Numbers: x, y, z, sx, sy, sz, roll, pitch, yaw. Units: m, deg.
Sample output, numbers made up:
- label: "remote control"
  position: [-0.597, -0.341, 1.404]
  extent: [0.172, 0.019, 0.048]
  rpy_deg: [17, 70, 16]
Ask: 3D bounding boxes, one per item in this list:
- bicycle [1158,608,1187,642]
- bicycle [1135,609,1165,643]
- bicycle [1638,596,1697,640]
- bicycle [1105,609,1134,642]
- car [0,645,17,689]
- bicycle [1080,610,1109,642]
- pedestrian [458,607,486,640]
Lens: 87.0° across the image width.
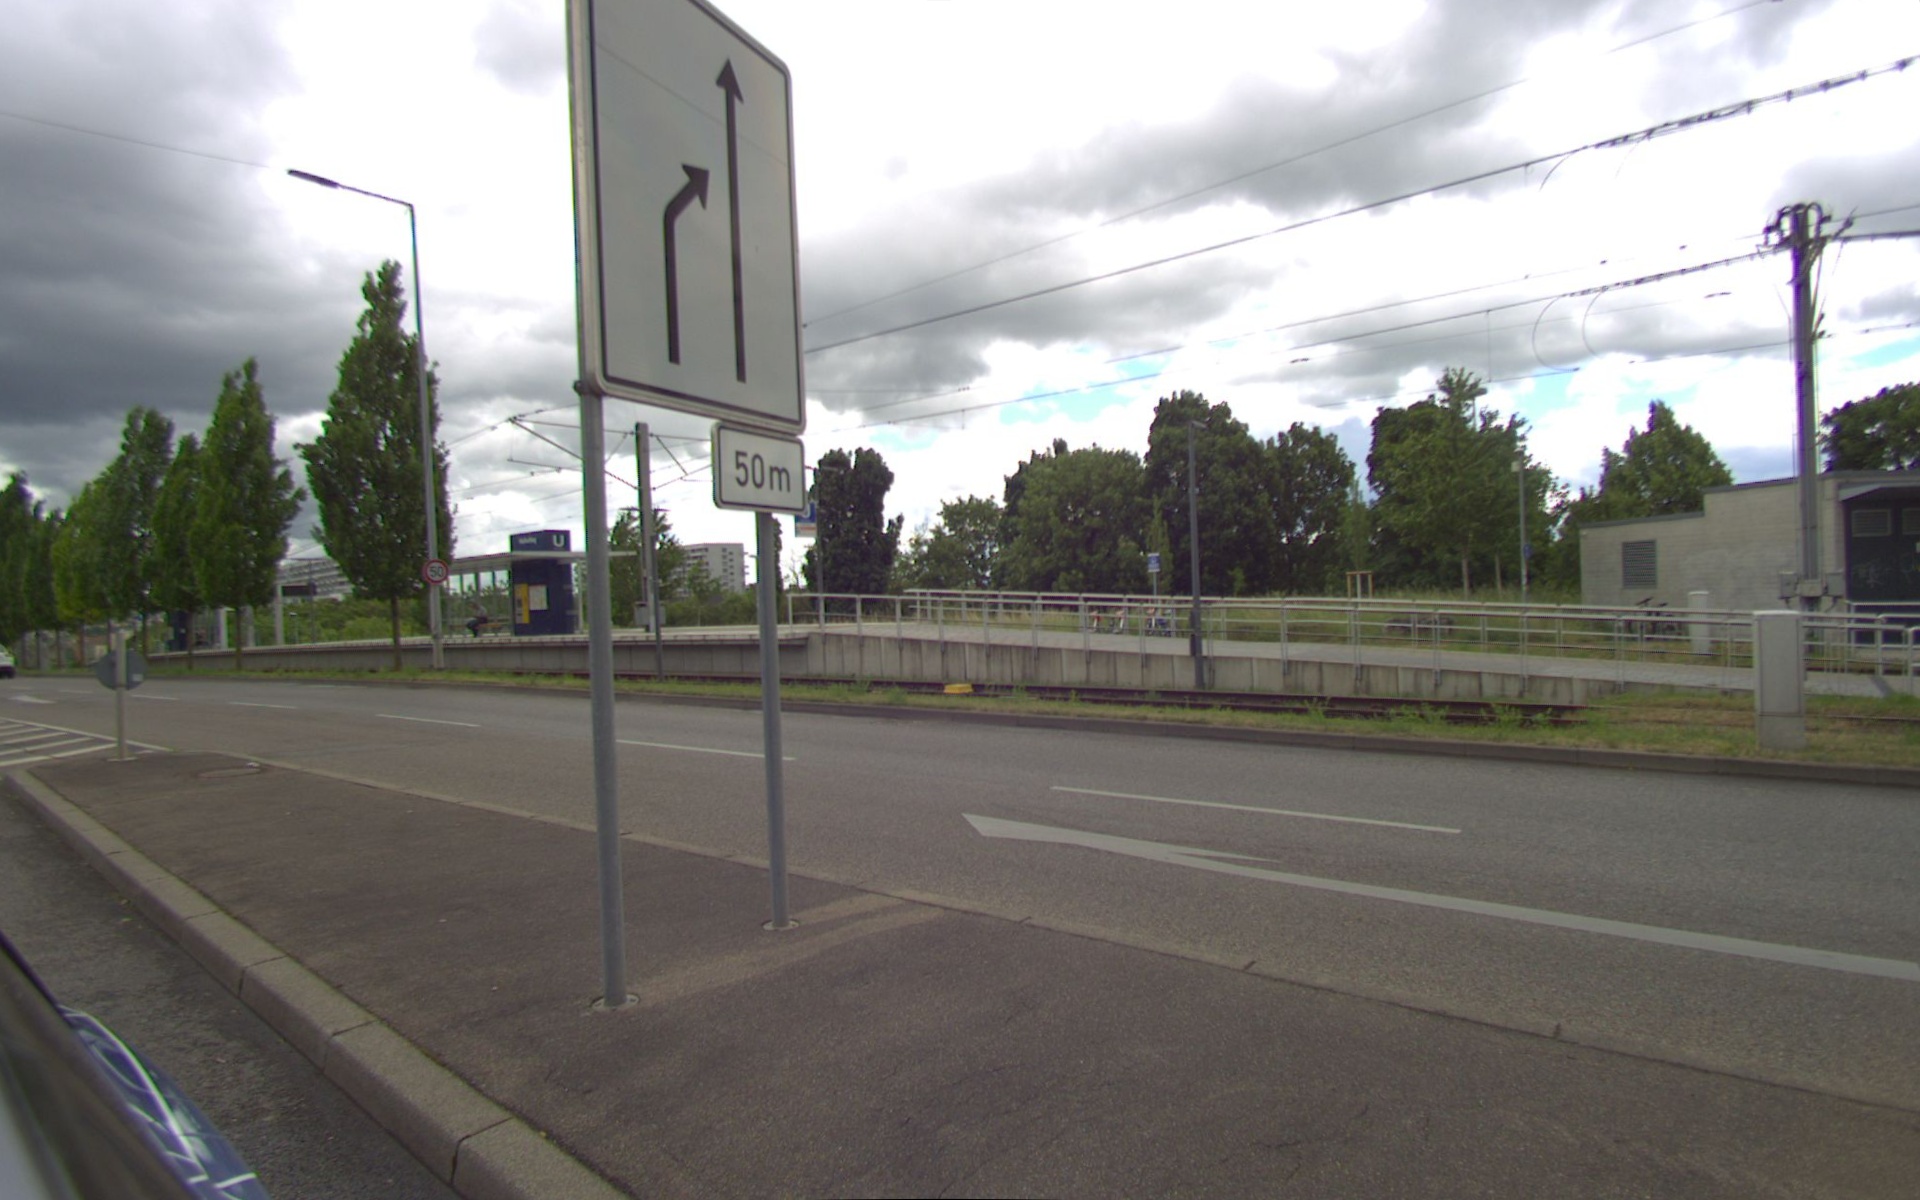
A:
- label: "bicycle"
  position: [7.040, 0.817, 33.455]
  extent: [0.490, 1.095, 1.466]
  rpy_deg: [-2, -1, 30]
- label: "bicycle"
  position: [6.375, 0.850, 33.935]
  extent: [0.490, 1.095, 1.466]
  rpy_deg: [-2, -1, 30]
- label: "bicycle"
  position: [18.189, 0.459, 26.048]
  extent: [0.486, 1.095, 1.480]
  rpy_deg: [-1, -1, 3]
- label: "bicycle"
  position: [5.434, 0.869, 34.447]
  extent: [0.490, 1.095, 1.466]
  rpy_deg: [-2, -1, 30]
- label: "car"
  position: [-42.464, 2.993, 43.762]
  extent: [4.419, 1.641, 1.811]
  rpy_deg: [-8, -5, 38]
- label: "bicycle"
  position: [4.677, 0.895, 35.148]
  extent: [0.490, 1.095, 1.466]
  rpy_deg: [-2, -1, 30]
- label: "pedestrian"
  position: [-18.257, 0.881, 37.860]
  extent: [0.781, 1.211, 0.656]
  rpy_deg: [-2, -1, 33]
